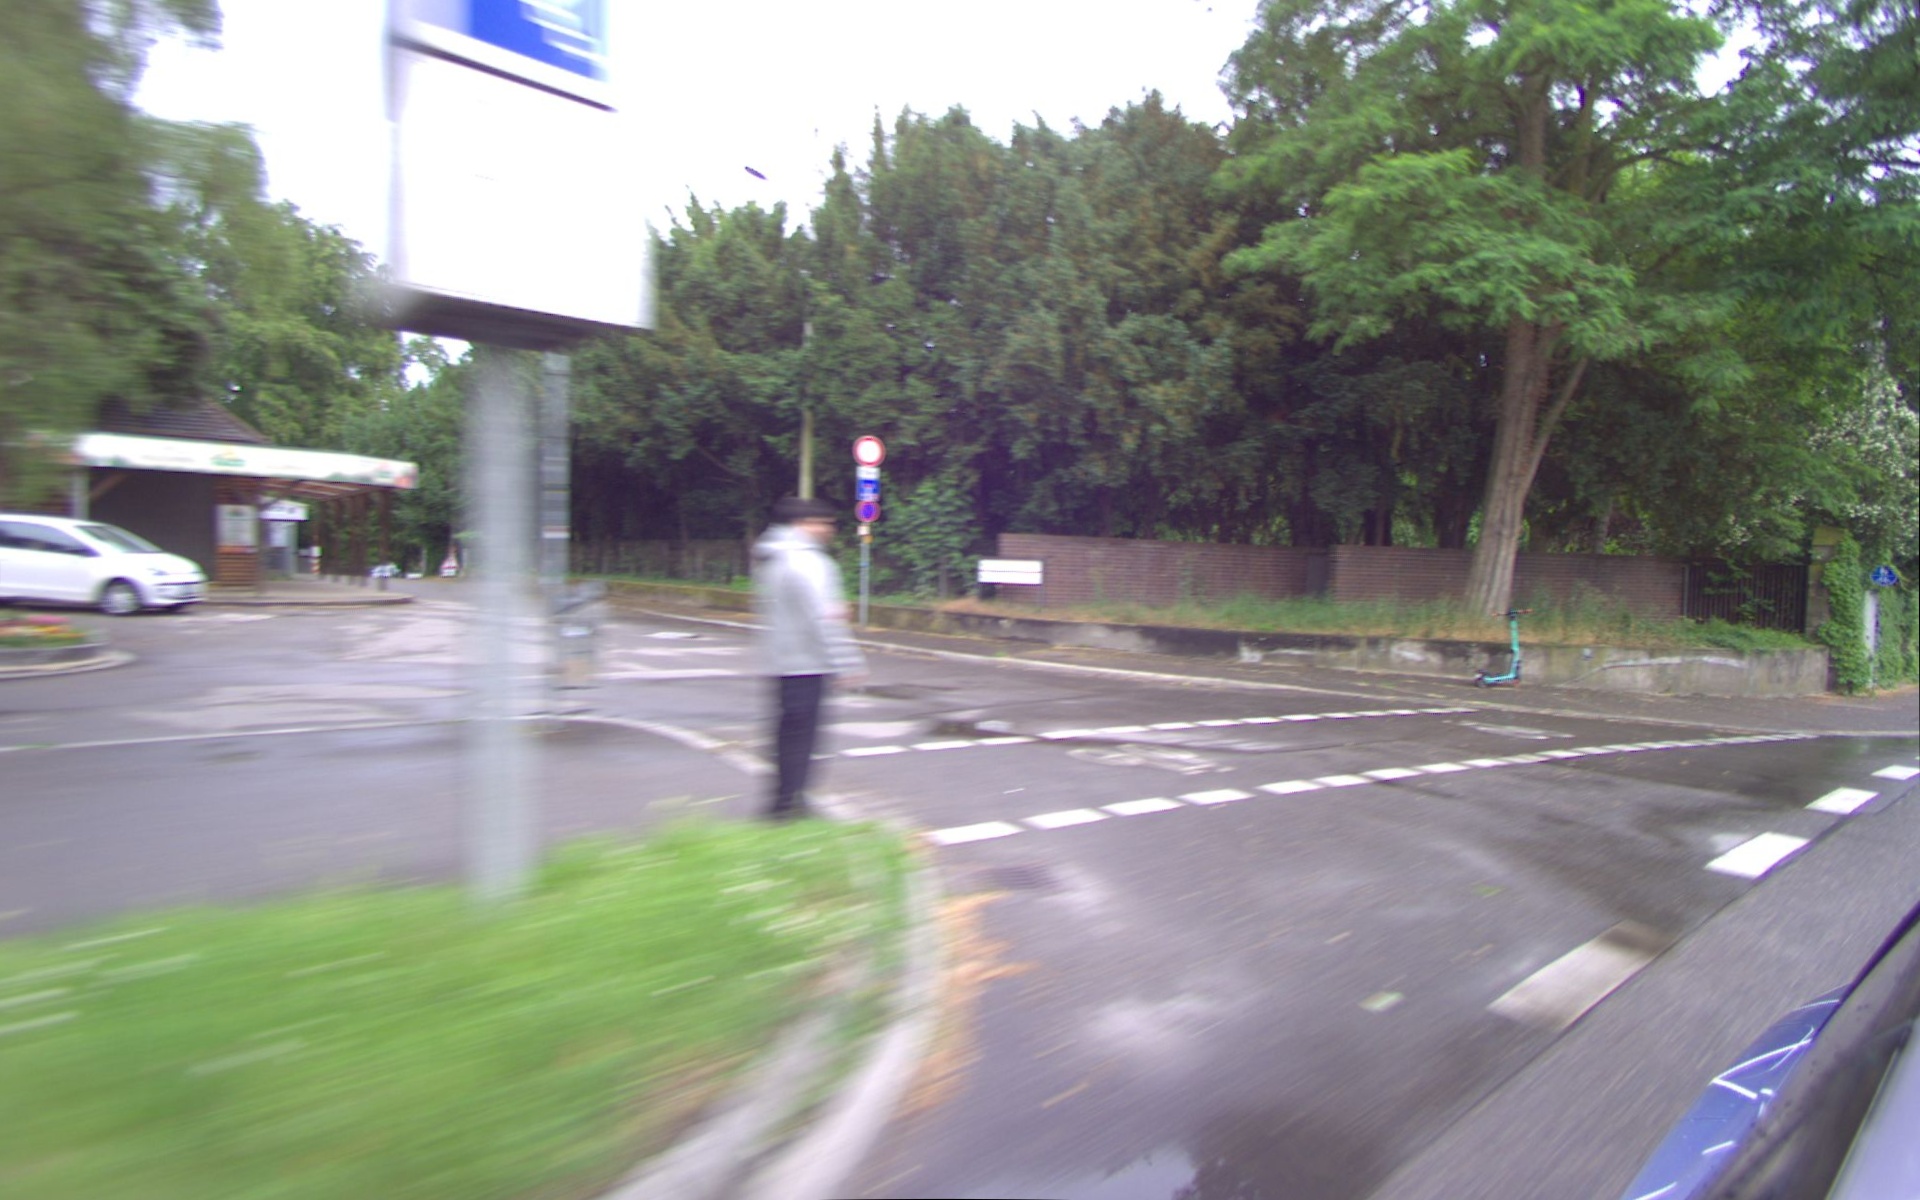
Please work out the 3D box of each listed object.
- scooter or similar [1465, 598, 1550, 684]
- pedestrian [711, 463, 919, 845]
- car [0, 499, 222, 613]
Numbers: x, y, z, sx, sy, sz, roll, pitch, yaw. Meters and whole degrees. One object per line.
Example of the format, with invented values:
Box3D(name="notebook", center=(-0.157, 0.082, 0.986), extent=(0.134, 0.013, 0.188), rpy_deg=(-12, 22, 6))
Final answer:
Box3D(name="scooter or similar", center=(8.534, 0.632, 15.768), extent=(1.289, 1.245, 0.516), rpy_deg=(1, 5, -33))
Box3D(name="pedestrian", center=(-0.805, 0.254, 5.523), extent=(0.723, 1.877, 0.857), rpy_deg=(2, 1, -38))
Box3D(name="car", center=(-14.413, -0.749, 16.246), extent=(3.683, 1.597, 1.838), rpy_deg=(3, 2, -13))
